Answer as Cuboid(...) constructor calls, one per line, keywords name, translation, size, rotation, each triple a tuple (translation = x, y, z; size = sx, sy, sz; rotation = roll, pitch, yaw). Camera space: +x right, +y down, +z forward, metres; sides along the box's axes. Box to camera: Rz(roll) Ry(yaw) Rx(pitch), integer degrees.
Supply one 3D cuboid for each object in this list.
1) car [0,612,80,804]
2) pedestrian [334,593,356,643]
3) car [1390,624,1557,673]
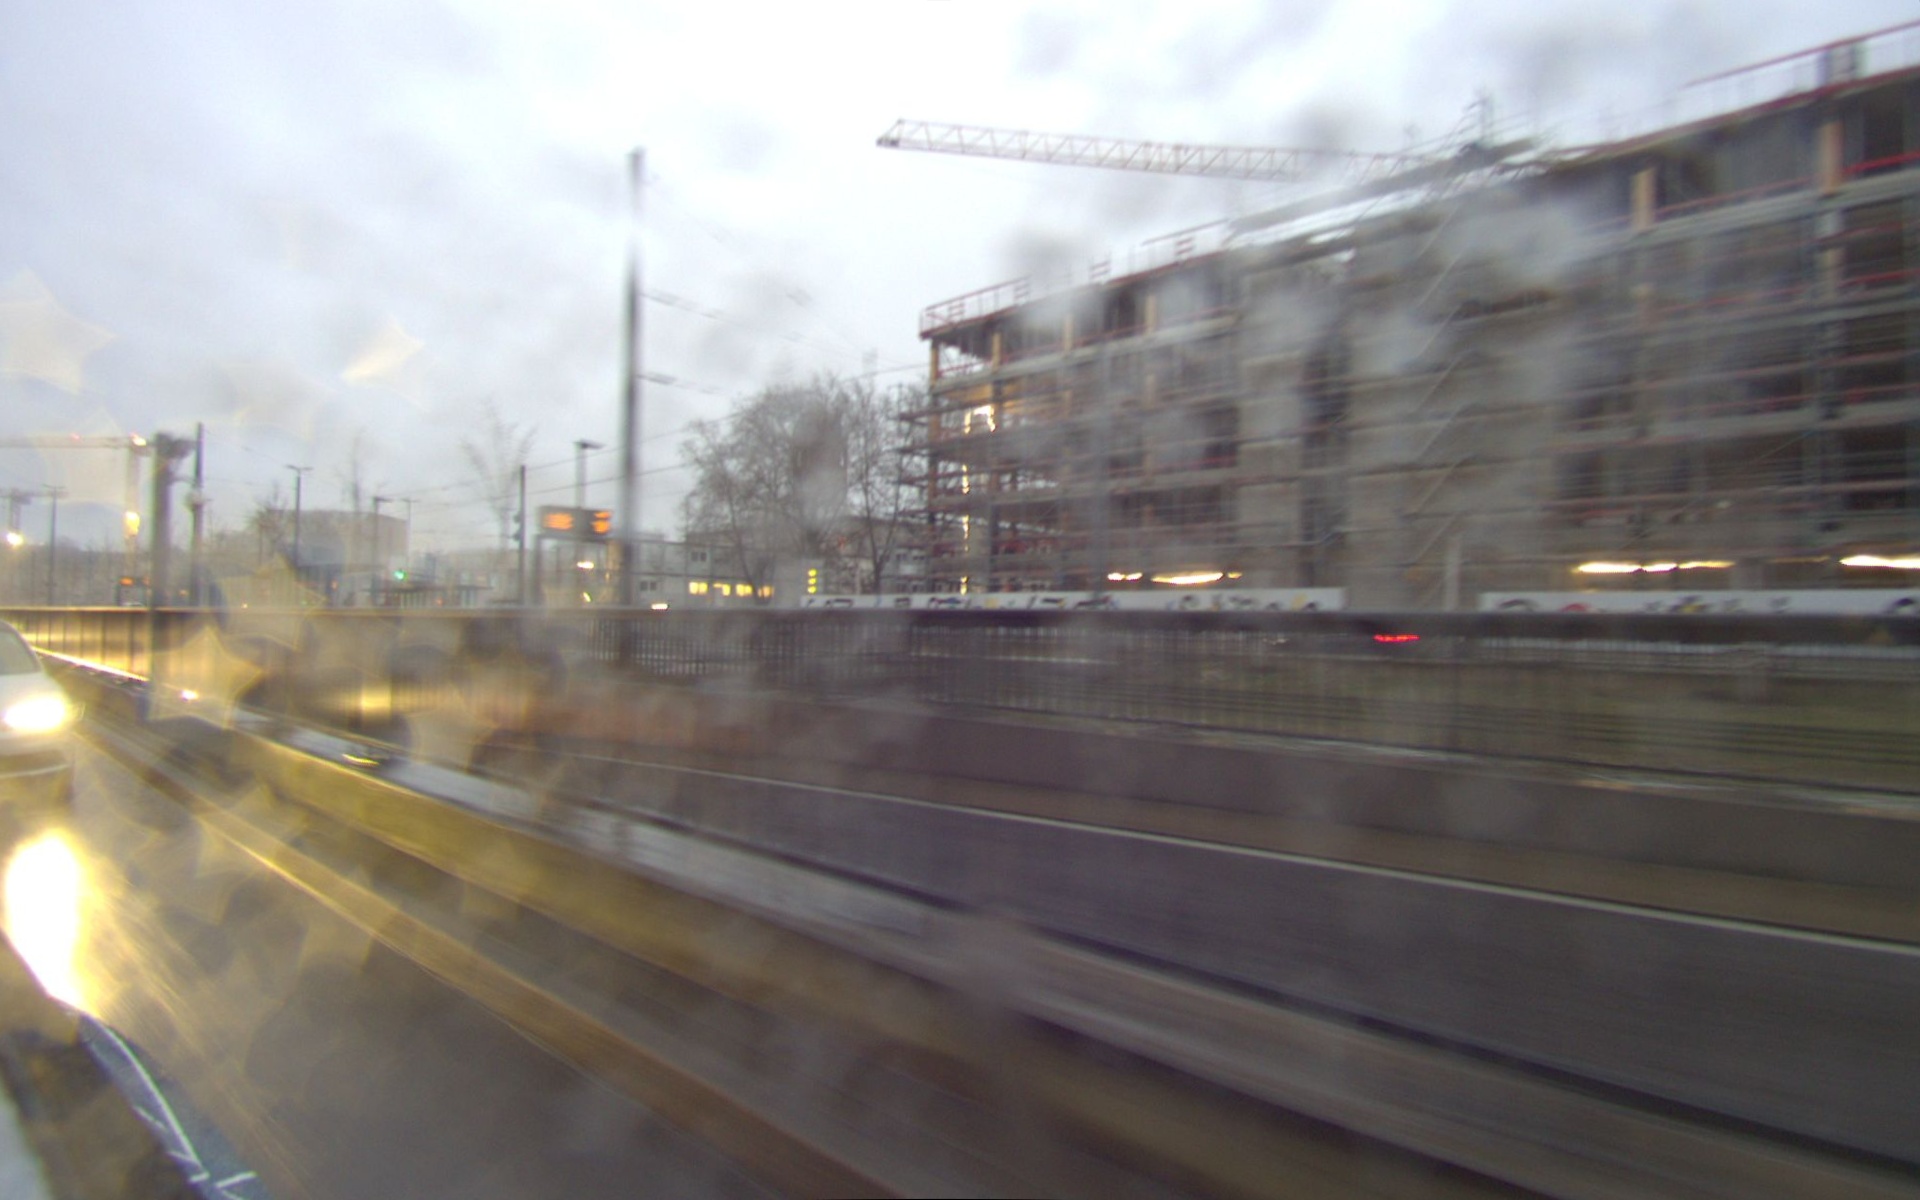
Cuboid(name="car", translation=(-9.210, 0.851, 9.011), size=(1.789, 1.484, 4.141), rotation=(1, -1, -45))
Cuboid(name="pedestrian", translation=(-21.555, 0.628, 35.469), size=(0.576, 1.714, 0.742), rotation=(1, -1, -36))
Cuboid(name="car", translation=(15.963, 1.467, 31.601), size=(4.341, 1.425, 1.663), rotation=(-1, -2, 44))
